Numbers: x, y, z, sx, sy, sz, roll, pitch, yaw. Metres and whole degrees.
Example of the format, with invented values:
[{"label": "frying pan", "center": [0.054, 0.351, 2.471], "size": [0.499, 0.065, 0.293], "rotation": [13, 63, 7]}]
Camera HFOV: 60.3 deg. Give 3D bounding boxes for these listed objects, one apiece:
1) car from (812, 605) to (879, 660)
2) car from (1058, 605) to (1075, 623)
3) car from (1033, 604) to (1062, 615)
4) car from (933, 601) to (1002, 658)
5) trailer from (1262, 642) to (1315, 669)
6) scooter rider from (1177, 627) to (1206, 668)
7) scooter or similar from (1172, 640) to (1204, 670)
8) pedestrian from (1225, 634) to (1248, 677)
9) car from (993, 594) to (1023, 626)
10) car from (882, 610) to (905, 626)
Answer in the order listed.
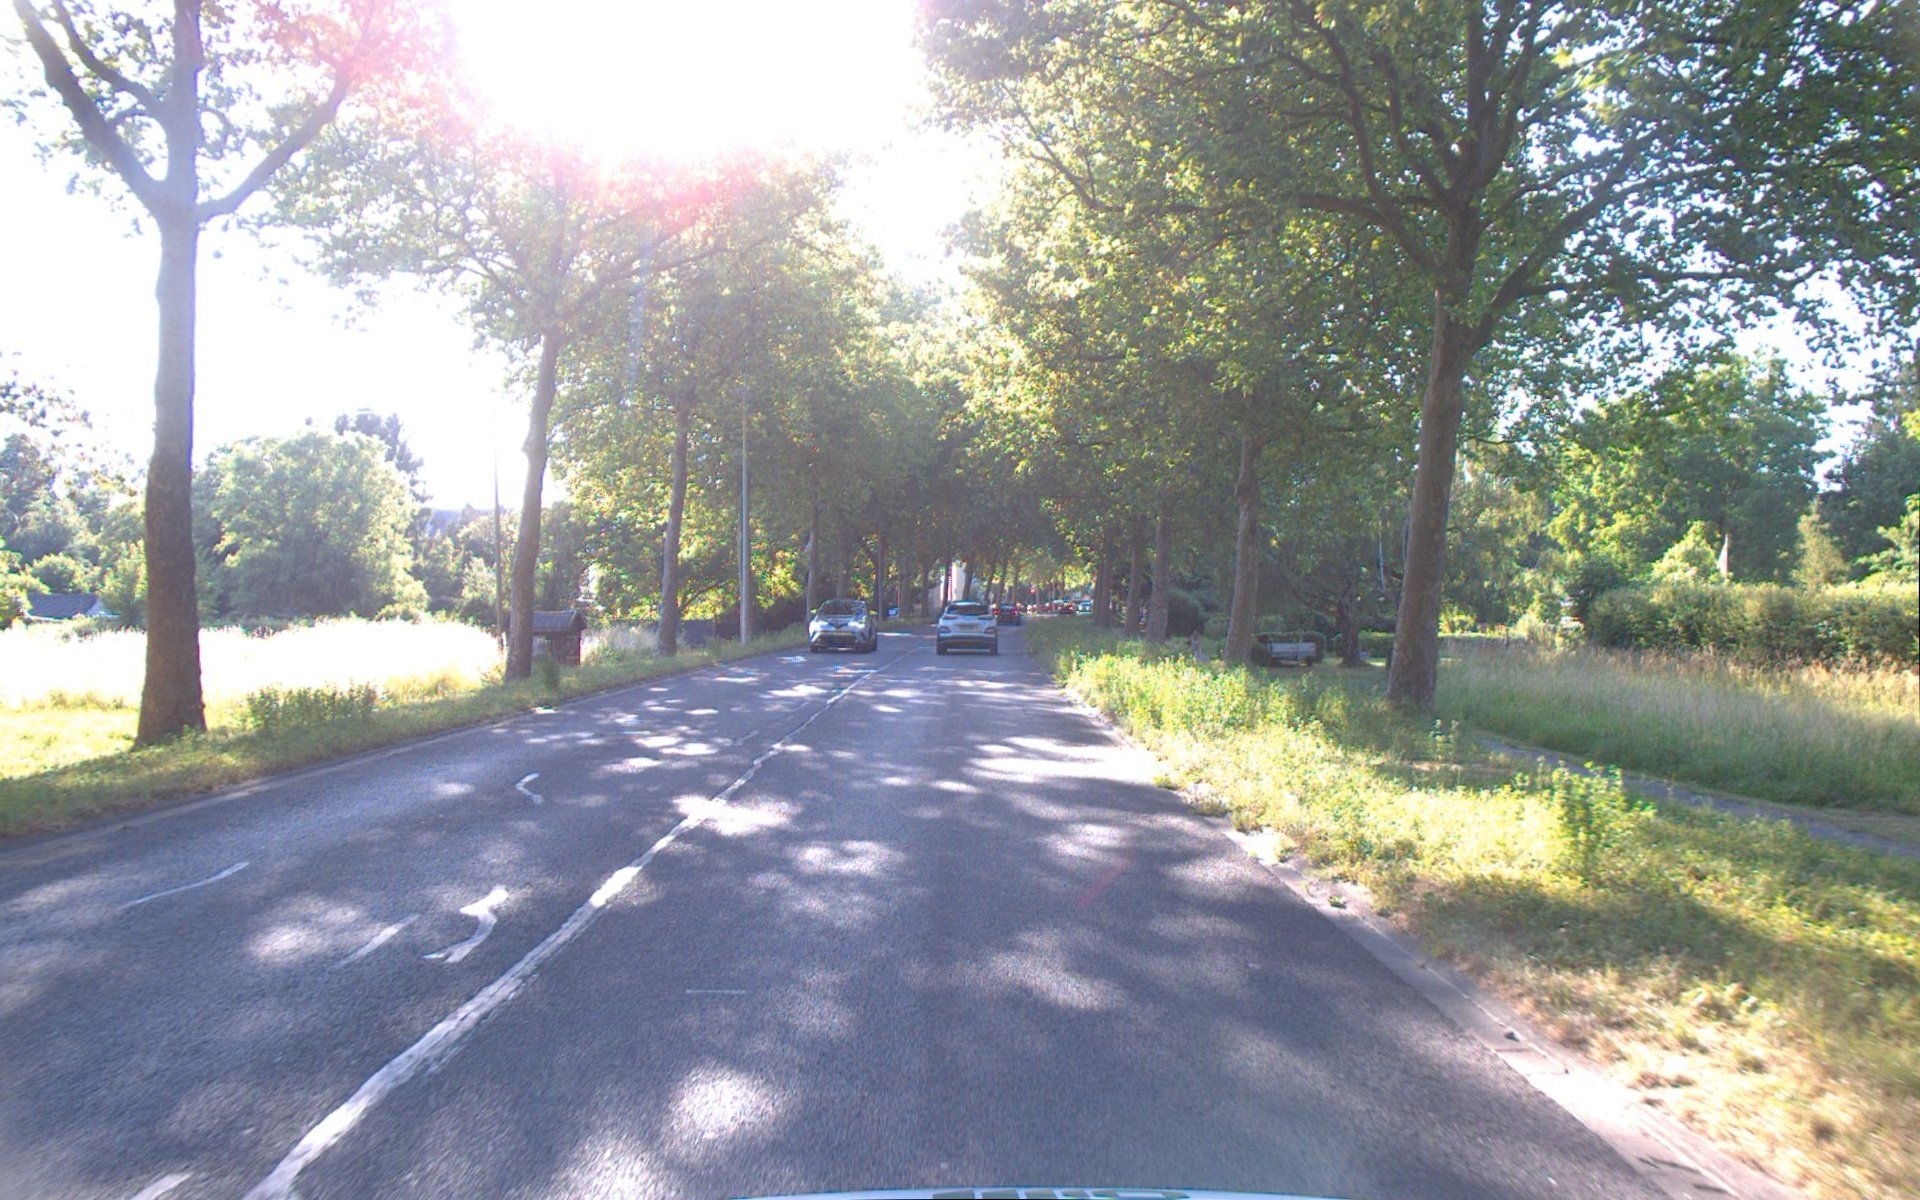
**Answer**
[{"label": "car", "center": [-3.372, 0.960, 49.197], "size": [1.680, 1.531, 4.000], "rotation": [1, -1, 0]}, {"label": "car", "center": [12.160, 1.632, 188.721], "size": [1.952, 2.049, 4.002], "rotation": [1, -1, 4]}, {"label": "car", "center": [12.432, 1.372, 235.421], "size": [3.902, 1.504, 2.001], "rotation": [1, -1, 9]}, {"label": "car", "center": [0.266, 0.875, 49.389], "size": [1.952, 1.602, 4.000], "rotation": [1, -1, 1]}, {"label": "trailer", "center": [13.649, 2.288, 68.816], "size": [2.072, 1.071, 1.201], "rotation": [1, -1, 6]}, {"label": "scooter rider", "center": [9.180, 1.901, 65.711], "size": [0.837, 1.604, 0.773], "rotation": [2, -1, -40]}, {"label": "scooter or similar", "center": [9.050, 2.169, 65.627], "size": [1.586, 1.155, 0.335], "rotation": [2, -1, -43]}, {"label": "pedestrian", "center": [10.499, 2.098, 62.705], "size": [0.824, 1.604, 1.208], "rotation": [1, -1, 10]}, {"label": "car", "center": [3.180, 0.694, 109.649], "size": [1.952, 2.049, 4.001], "rotation": [1, -1, 2]}, {"label": "car", "center": [-6.046, 1.634, 150.927], "size": [1.715, 1.327, 4.002], "rotation": [-1, 1, 3]}]
